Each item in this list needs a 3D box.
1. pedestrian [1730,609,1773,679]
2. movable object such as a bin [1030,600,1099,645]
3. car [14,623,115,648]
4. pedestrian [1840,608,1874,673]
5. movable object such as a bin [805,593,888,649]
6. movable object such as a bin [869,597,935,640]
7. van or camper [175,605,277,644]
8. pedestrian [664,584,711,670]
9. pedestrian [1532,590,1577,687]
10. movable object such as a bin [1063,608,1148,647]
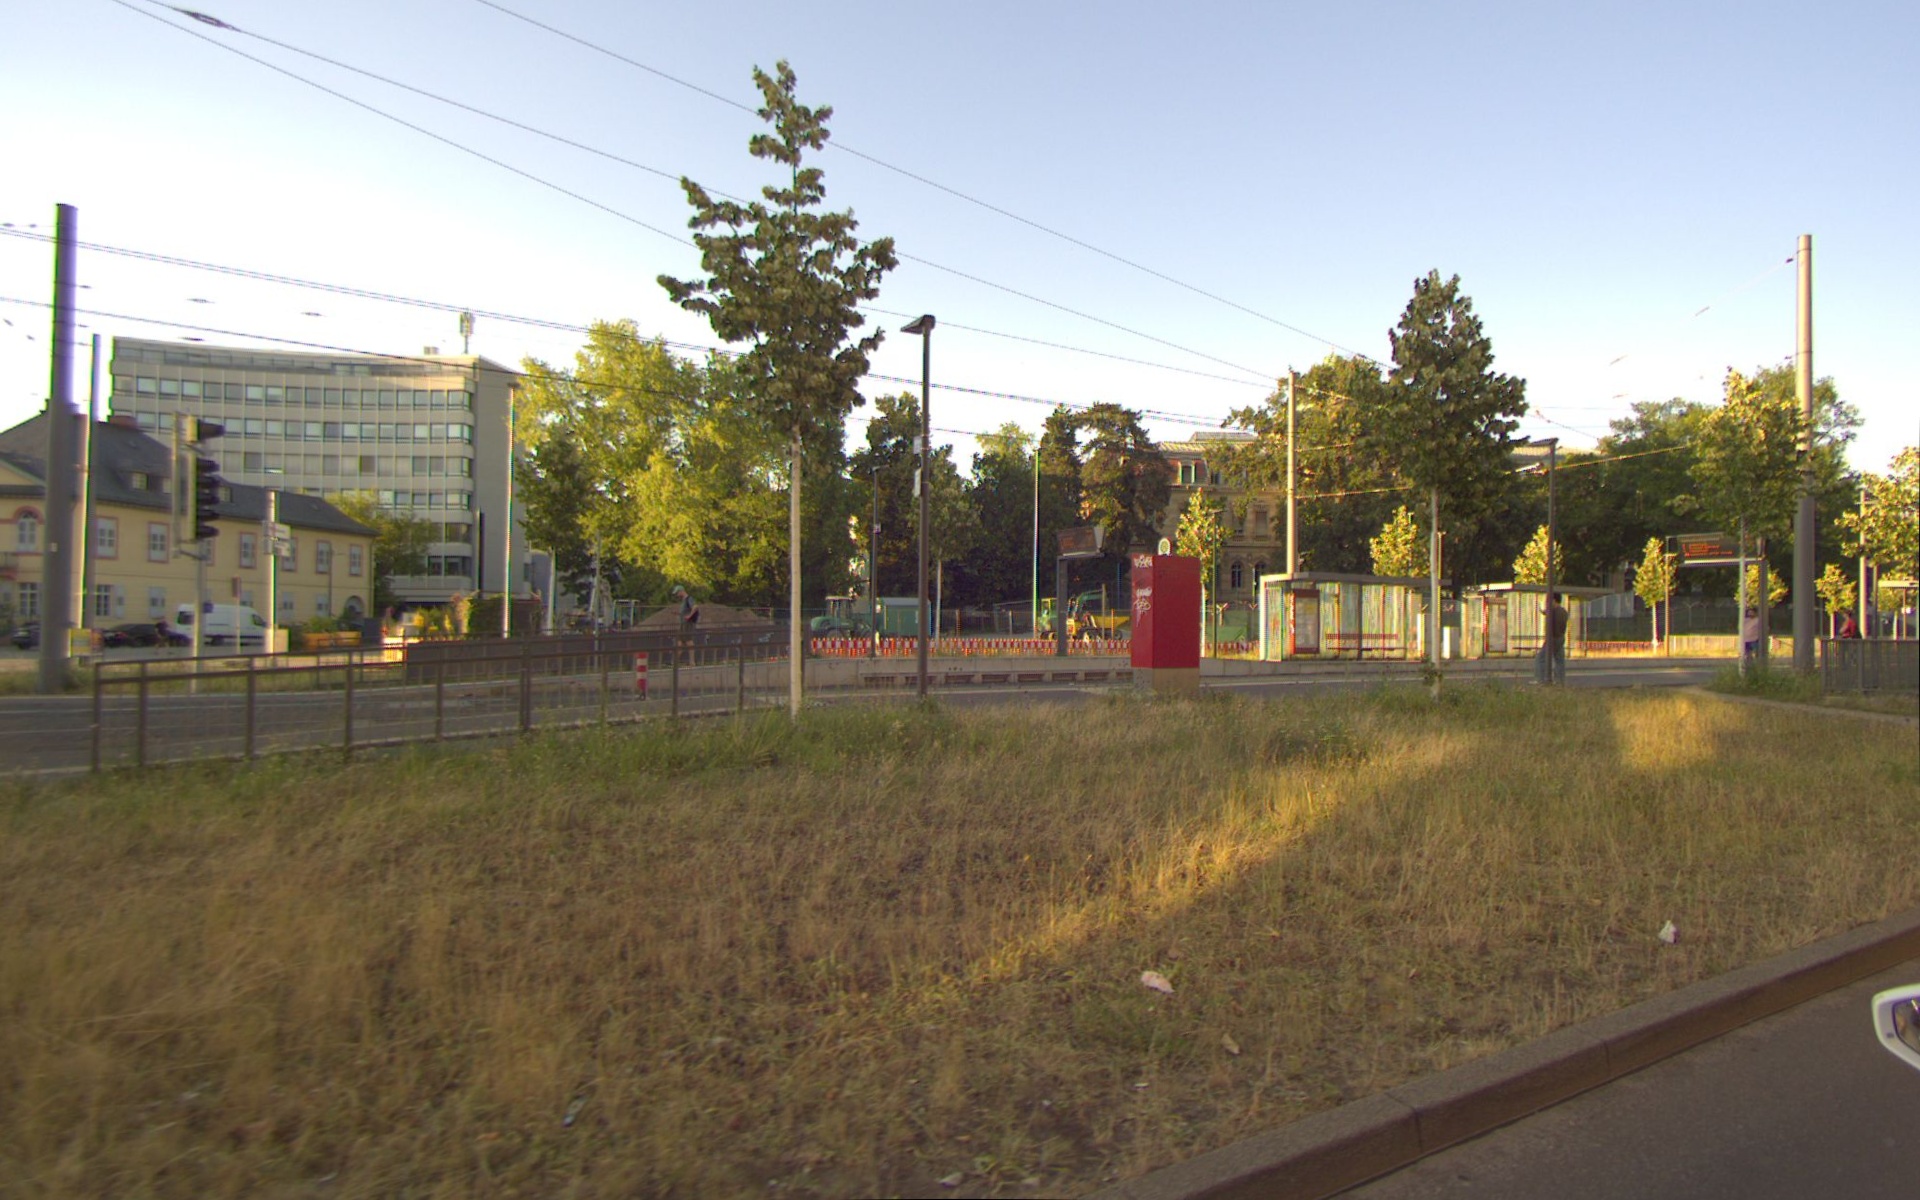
[{"bbox_3d":[20.284,1.124,25.739,0.631,1.768,0.719,1,-2,-38],"label":"pedestrian"},{"bbox_3d":[6.717,1.472,64.472,3.951,2.742,1.985,2,-2,-29],"label":"movable object such as a bin"},{"bbox_3d":[-46.865,1.860,52.648,1.814,1.293,3.591,0,-2,8],"label":"car"},{"bbox_3d":[24.425,1.100,27.354,0.631,1.751,0.628,2,-2,-43],"label":"pedestrian"},{"bbox_3d":[-5.874,1.109,51.966,3.937,2.742,1.992,1,-1,-18],"label":"movable object such as a bin"},{"bbox_3d":[-3.886,1.267,67.675,3.951,2.742,1.985,2,-2,-29],"label":"movable object such as a bin"},{"bbox_3d":[-45.862,1.555,62.929,1.959,2.332,5.120,0,-2,11],"label":"van or camper"},{"bbox_3d":[-5.913,0.597,21.793,0.807,1.822,0.691,2,-1,-29],"label":"pedestrian"},{"bbox_3d":[11.300,0.728,19.097,0.617,1.810,0.470,1,-1,-24],"label":"pedestrian"},{"bbox_3d":[8.885,1.680,61.237,4.879,2.276,1.985,2,-2,-29],"label":"movable object such as a bin"}]
